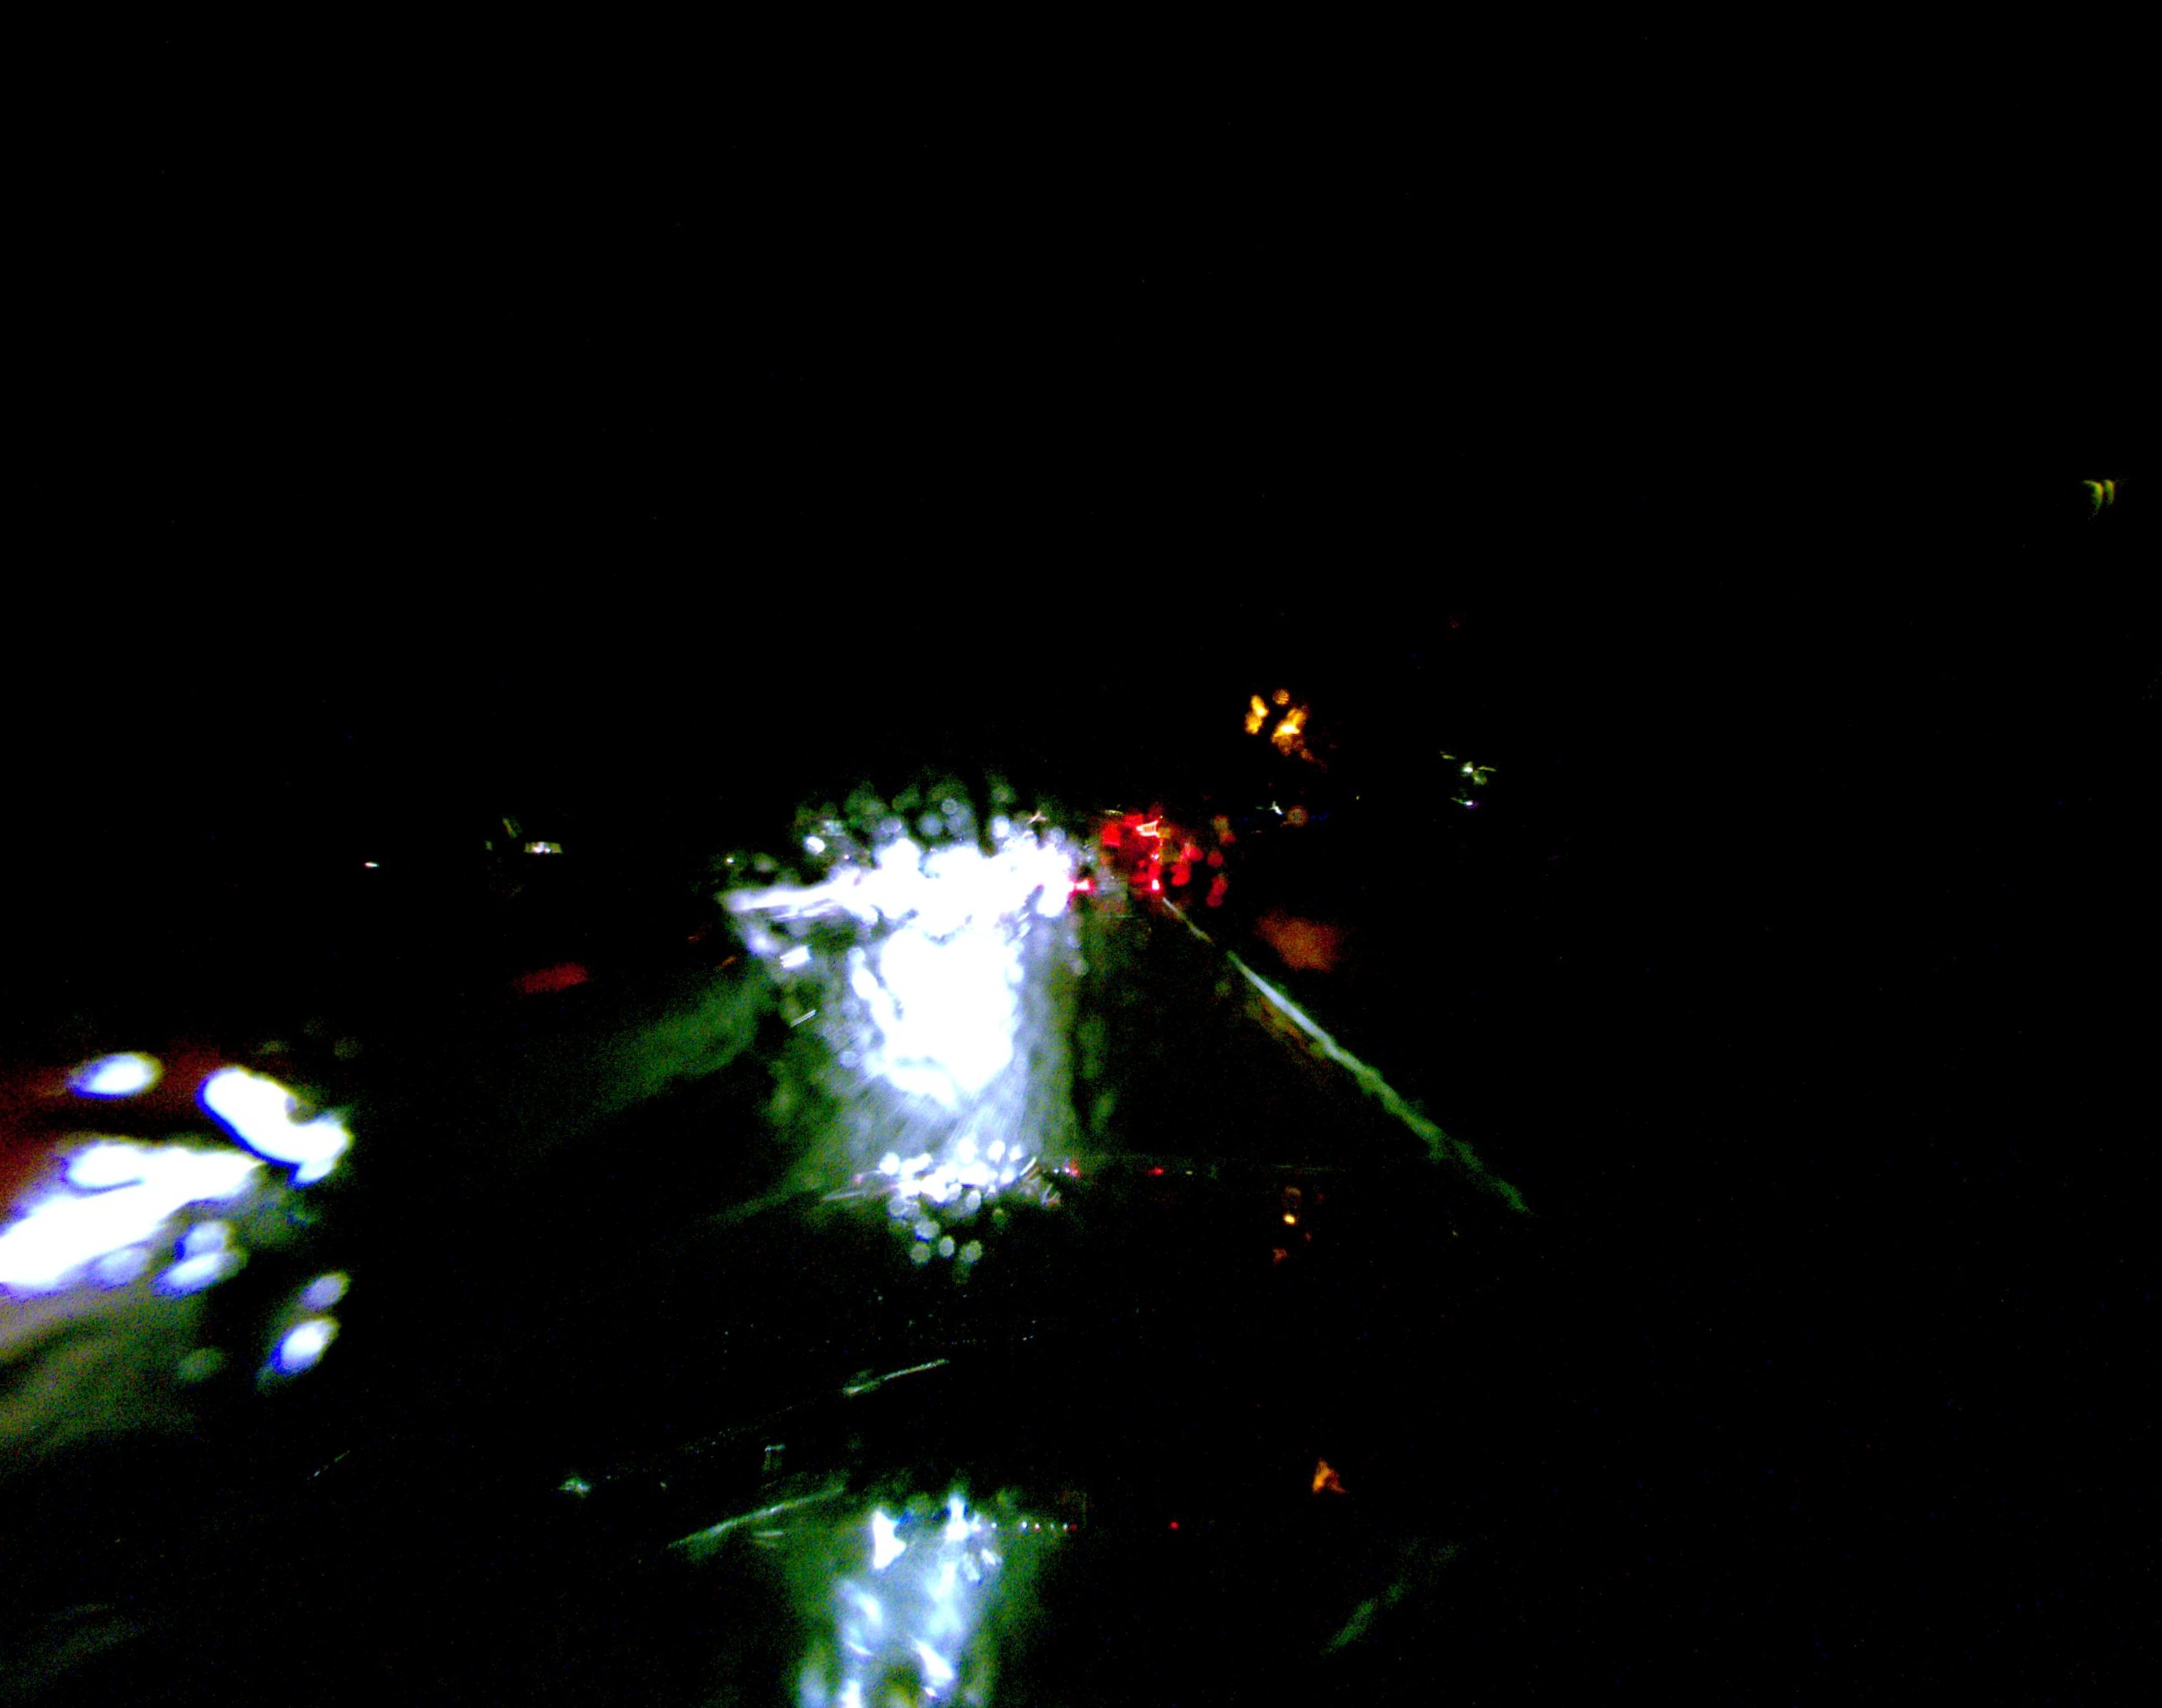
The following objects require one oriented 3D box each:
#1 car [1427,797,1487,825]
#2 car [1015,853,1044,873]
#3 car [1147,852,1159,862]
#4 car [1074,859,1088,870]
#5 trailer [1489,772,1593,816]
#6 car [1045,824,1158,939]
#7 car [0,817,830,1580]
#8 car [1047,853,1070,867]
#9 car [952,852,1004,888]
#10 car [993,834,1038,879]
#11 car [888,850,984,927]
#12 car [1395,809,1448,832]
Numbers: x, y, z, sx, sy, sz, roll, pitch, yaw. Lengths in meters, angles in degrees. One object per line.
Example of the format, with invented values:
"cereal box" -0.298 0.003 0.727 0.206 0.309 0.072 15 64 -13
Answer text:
"car" 25.289 -2.879 54.921 1.613 1.640 3.985 -1 -1 -11
"car" -4.151 0.719 66.187 1.871 1.537 3.990 -1 0 2
"car" 10.900 0.449 123.079 1.654 1.450 4.059 -1 -1 8
"car" 0.036 1.435 114.911 1.911 1.444 4.547 -1 0 2
"trailer" 26.609 -3.411 47.423 2.225 2.072 5.704 -1 0 -8
"car" 0.391 0.472 16.198 1.935 1.972 4.219 -1 0 1
"car" -2.975 0.713 4.008 1.836 1.575 4.600 -1 0 3
"car" -2.392 0.666 87.804 2.069 1.449 4.994 -1 0 2
"car" -4.780 0.717 38.257 1.713 1.588 4.314 -1 0 2
"car" -4.195 0.150 53.404 2.114 2.707 6.245 -1 0 3
"car" -3.365 0.734 19.690 1.801 1.629 4.409 0 0 -4
"car" 24.668 -2.413 59.135 1.613 1.472 3.985 -1 -1 -11
